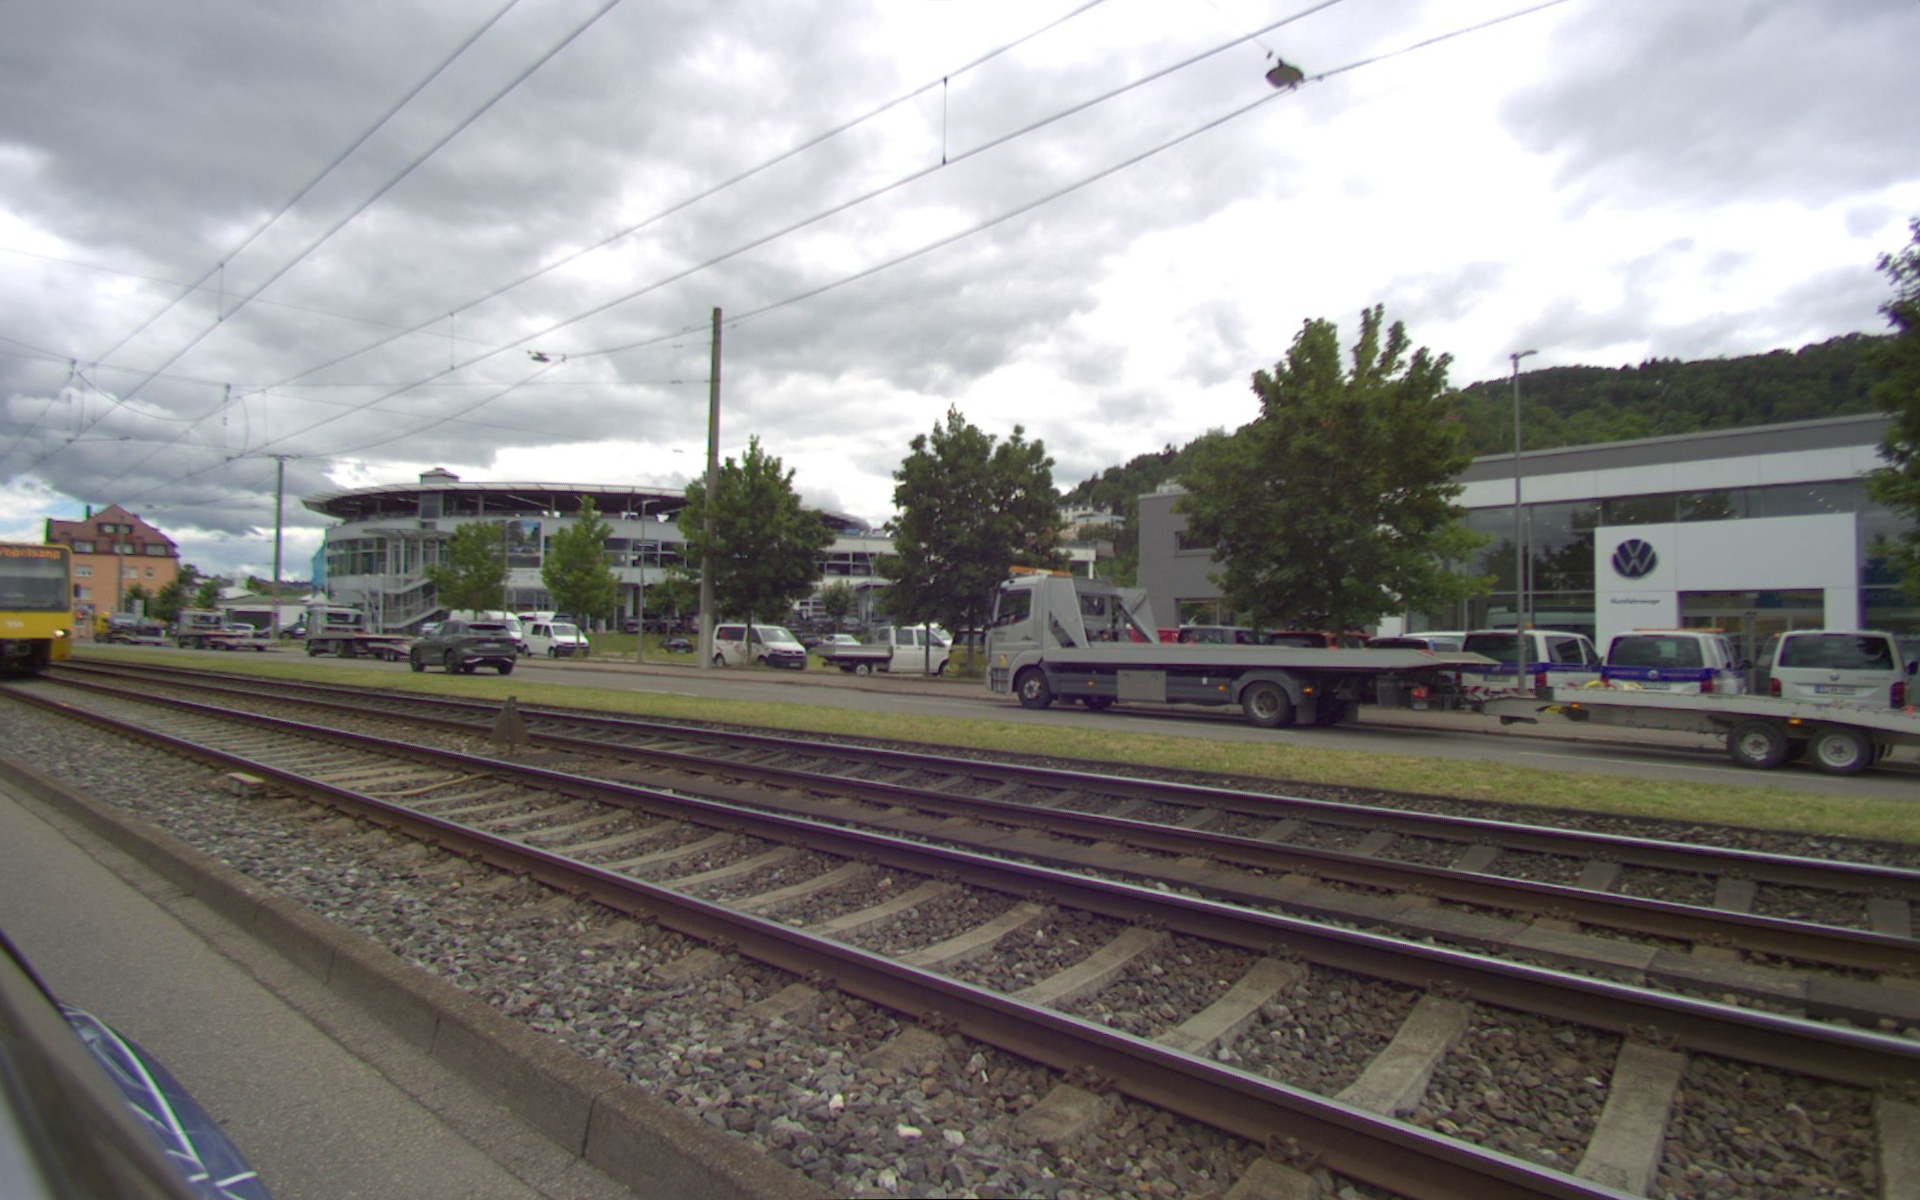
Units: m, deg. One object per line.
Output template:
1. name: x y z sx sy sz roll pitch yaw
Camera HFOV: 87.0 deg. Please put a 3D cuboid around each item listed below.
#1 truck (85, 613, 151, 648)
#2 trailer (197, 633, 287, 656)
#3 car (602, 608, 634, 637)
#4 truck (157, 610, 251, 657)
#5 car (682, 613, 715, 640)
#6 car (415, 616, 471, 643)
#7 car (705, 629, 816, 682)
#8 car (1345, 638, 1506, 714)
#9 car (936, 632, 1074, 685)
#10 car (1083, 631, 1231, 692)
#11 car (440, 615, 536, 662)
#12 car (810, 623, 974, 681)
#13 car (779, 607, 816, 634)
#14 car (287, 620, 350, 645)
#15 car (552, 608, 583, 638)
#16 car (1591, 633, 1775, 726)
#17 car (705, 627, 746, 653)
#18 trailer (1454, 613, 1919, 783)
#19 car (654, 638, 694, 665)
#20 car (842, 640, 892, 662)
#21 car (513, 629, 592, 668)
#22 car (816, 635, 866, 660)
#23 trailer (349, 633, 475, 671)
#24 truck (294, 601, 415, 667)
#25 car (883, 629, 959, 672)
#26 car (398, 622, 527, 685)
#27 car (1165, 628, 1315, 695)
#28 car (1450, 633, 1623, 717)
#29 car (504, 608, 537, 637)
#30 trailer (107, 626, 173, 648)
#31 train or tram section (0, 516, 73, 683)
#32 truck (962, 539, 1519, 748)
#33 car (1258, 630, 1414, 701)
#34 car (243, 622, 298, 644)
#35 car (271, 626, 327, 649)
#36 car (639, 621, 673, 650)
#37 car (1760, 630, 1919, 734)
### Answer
1. truck: -72.960 2.627 87.603 9.063 2.881 3.017 -2 -3 41
2. trailer: -45.323 2.786 63.787 7.002 1.287 3.017 -2 -5 41
3. car: -24.941 1.647 73.821 1.965 2.029 4.013 1 -2 -22
4. truck: -51.516 2.280 68.849 8.955 2.944 3.075 -2 -5 40
5. car: -20.258 2.072 78.272 1.965 2.029 4.013 1 -2 -22
6. car: -40.332 2.334 79.068 1.977 2.029 3.989 0 -2 8
7. car: -8.190 2.210 41.309 4.861 2.029 1.971 -1 -2 43
8. car: 11.087 1.725 24.018 3.937 1.630 2.003 2 -3 -40
9. car: 1.538 1.890 33.636 4.282 1.630 2.157 2 -3 -40
10. car: 5.720 1.720 29.134 4.126 1.630 2.066 2 -3 -40
11. car: -26.915 2.160 57.627 5.840 2.580 1.979 -1 -2 31
12. car: -2.500 1.926 37.504 5.615 2.023 2.151 2 -2 -24
13. car: -12.703 1.634 79.080 1.965 2.029 4.013 1 -2 -22
14. car: -53.246 2.715 84.024 1.990 1.962 3.962 -1 -2 27
15. car: -28.312 1.673 72.909 1.965 2.029 4.013 1 -2 -22
16. car: 14.130 1.459 19.716 3.937 1.630 2.003 2 -3 -40
17. car: -15.199 2.565 65.487 1.648 1.630 3.727 1 -2 -27
18. trailer: 9.832 1.079 11.802 2.354 1.711 6.953 5 -4 -44
19. car: -18.494 3.305 65.329 1.648 1.630 3.727 1 -2 -29
20. car: -6.459 3.474 69.769 1.650 1.447 3.722 2 -2 -39
21. car: -21.748 2.546 53.940 4.806 2.029 1.972 -2 -3 42
22. car: -8.047 3.173 68.368 1.650 1.630 3.722 2 -2 -39
23. trailer: -24.739 2.309 45.506 7.224 1.507 2.728 -2 -5 42
24. truck: -30.514 1.743 50.854 8.453 3.004 2.832 -2 -5 43
25. car: -2.054 2.529 51.516 1.965 2.029 5.150 1 -2 -25
26. car: -15.477 1.627 31.391 4.533 1.752 1.972 0 -4 42
27. car: 7.591 1.613 27.323 3.937 1.677 2.051 2 -3 -40
28. car: 12.501 1.544 21.863 3.937 1.630 2.003 2 -3 -40
29. car: -31.049 1.622 71.605 1.965 2.029 4.013 1 -2 -22
30. trailer: -66.641 2.980 82.162 7.565 1.701 2.946 -2 -3 42
31. train or tram section: -29.650 0.074 30.068 16.945 4.037 3.351 -1 -1 43
32. truck: 4.249 0.741 17.627 2.724 2.762 9.225 5 -5 -44
33. car: 9.498 1.591 25.469 3.937 1.630 2.003 2 -3 -40
34. car: -63.379 3.065 93.130 3.931 1.962 2.006 1 -2 -28
35. car: -57.302 3.223 87.741 3.935 1.962 2.004 2 -3 -38
36. car: -22.547 2.612 74.976 1.965 2.029 4.013 1 -2 -22
37. car: 15.938 1.368 18.143 2.005 1.630 4.315 -2 -3 45
